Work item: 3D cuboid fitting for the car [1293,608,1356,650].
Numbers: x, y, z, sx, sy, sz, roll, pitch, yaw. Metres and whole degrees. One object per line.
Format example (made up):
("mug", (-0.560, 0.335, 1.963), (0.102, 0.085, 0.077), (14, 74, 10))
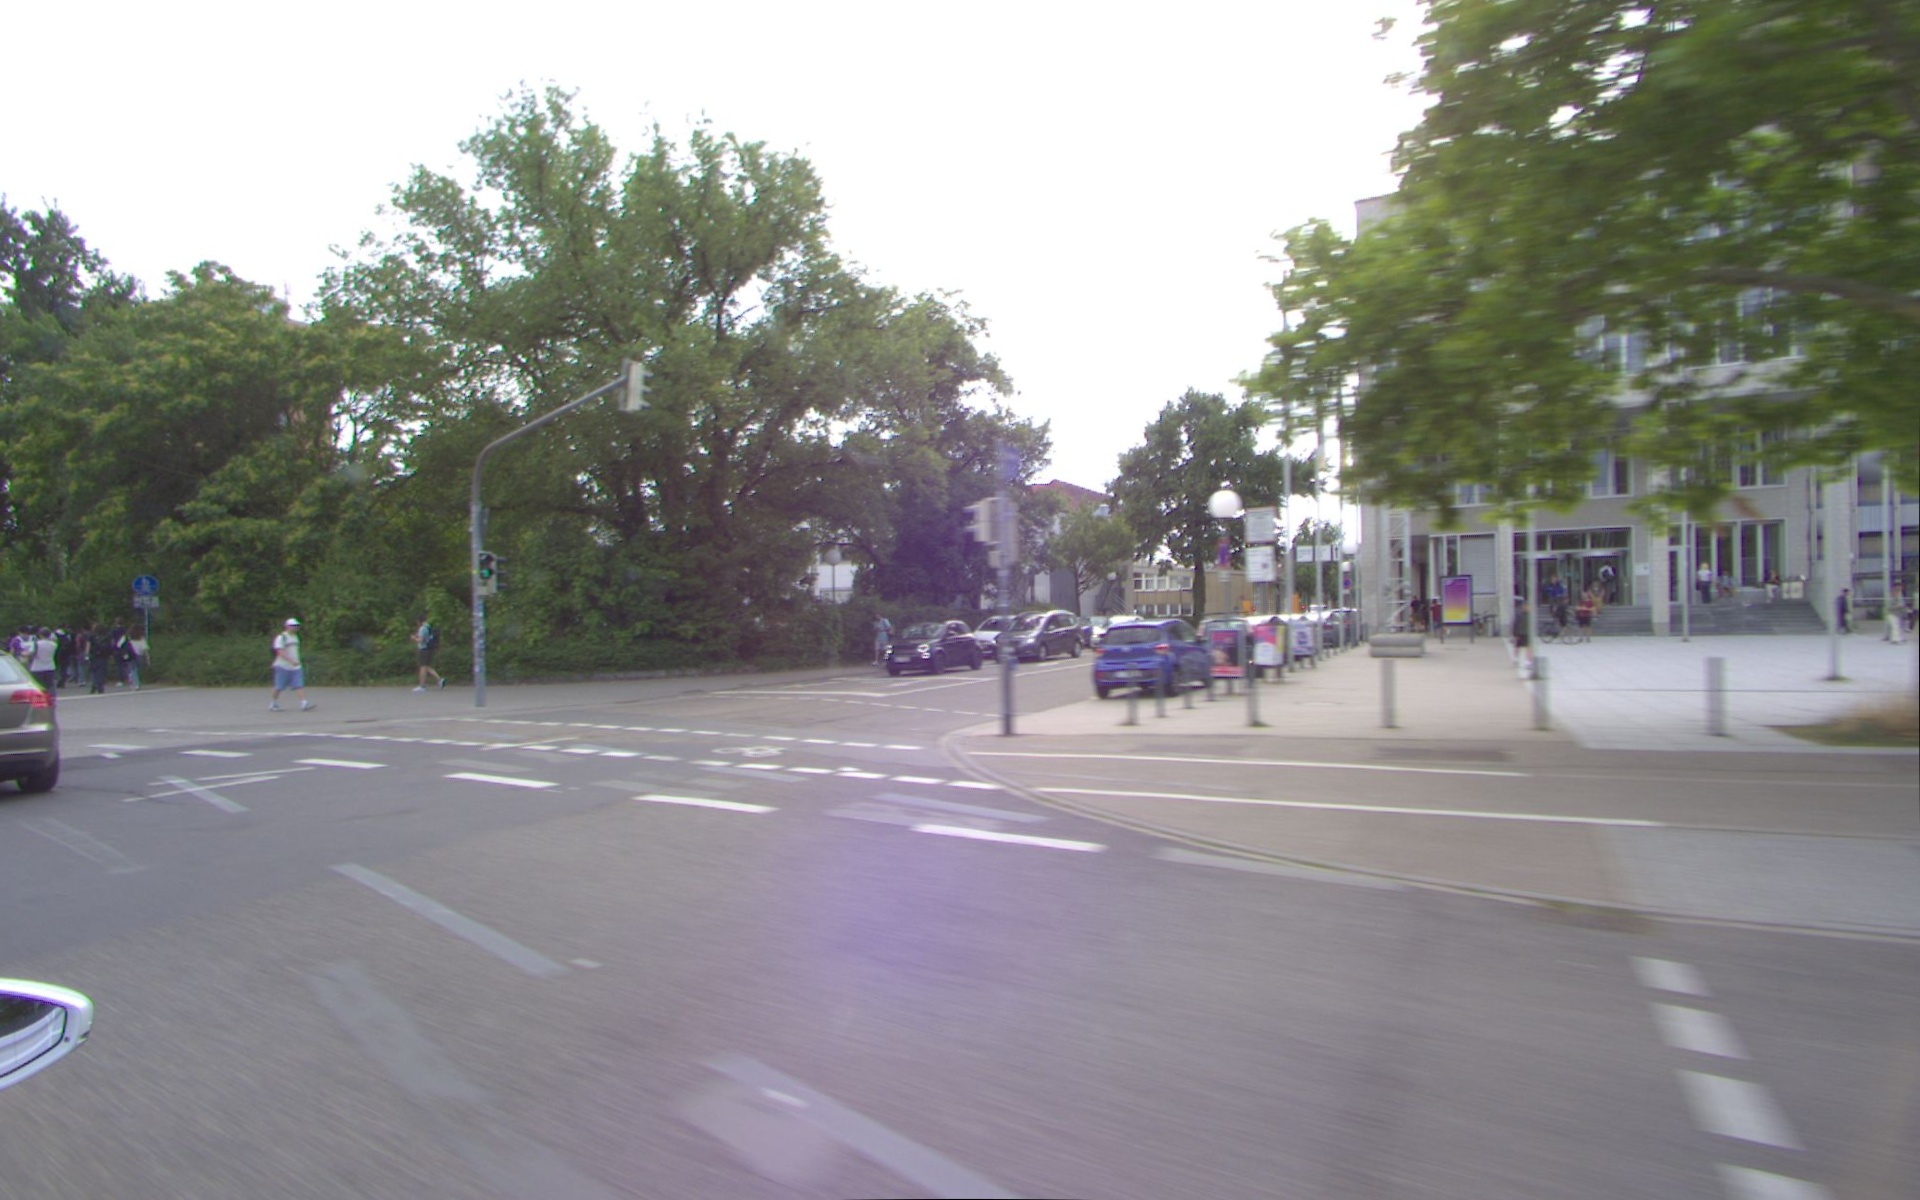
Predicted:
("car", (14.792, 1.172, 40.544), (1.788, 1.587, 4.211), (-2, -2, 28))

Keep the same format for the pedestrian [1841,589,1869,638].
("pedestrian", (30.994, 0.473, 34.686), (0.625, 1.661, 0.598), (1, -2, -37))

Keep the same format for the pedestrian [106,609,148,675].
("pedestrian", (-22.975, 1.151, 27.619), (0.768, 1.768, 0.655), (-1, 0, 30))

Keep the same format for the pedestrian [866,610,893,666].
("pedestrian", (-2.766, 1.295, 34.417), (0.719, 1.875, 0.800), (-1, 0, 13))

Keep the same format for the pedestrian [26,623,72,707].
("pedestrian", (-18.998, 1.343, 20.881), (0.627, 1.709, 0.545), (-1, 0, 30))

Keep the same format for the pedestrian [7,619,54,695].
("pedestrian", (-22.381, 1.360, 24.107), (0.768, 1.768, 0.623), (-1, 0, 30))

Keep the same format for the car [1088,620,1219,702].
("car", (4.070, 1.198, 20.655), (1.649, 1.510, 3.568), (-2, -2, 28))

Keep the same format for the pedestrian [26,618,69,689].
("pedestrian", (-23.371, 1.354, 25.640), (0.778, 1.768, 0.580), (-1, 0, 30))

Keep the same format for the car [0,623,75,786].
("car", (-10.454, 0.994, 9.870), (3.684, 1.476, 1.720), (-1, -1, 34))

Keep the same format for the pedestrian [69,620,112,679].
("pedestrian", (-25.316, 1.423, 29.145), (0.957, 1.689, 0.655), (-1, 0, 30))

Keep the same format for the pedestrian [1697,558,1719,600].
("pedestrian", (31.237, -0.868, 41.815), (0.666, 1.736, 0.626), (1, -2, -43))

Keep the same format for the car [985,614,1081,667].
("car", (2.638, 1.378, 35.140), (1.659, 1.714, 4.276), (-2, -2, 29))

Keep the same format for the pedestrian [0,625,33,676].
("pedestrian", (-30.576, 1.626, 32.417), (0.774, 1.604, 0.634), (-1, 0, 33))

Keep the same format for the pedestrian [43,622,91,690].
("pedestrian", (-24.294, 1.504, 27.239), (0.943, 1.790, 0.655), (-1, 1, 30))

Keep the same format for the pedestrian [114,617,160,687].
("pedestrian", (-21.099, 1.324, 25.670), (0.768, 1.768, 0.655), (-1, 0, 30))

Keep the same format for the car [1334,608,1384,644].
("car", (18.424, 1.191, 46.176), (1.649, 1.587, 3.973), (-2, -2, 28))

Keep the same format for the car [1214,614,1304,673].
("car", (8.884, 1.233, 29.542), (1.649, 1.587, 4.435), (-2, -2, 28))

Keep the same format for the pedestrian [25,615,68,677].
("pedestrian", (-25.844, 1.295, 28.329), (0.829, 1.711, 0.655), (-1, 0, 30))

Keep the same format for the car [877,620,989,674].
("car", (-0.720, 1.353, 29.284), (1.659, 1.460, 3.567), (-2, -2, 29))

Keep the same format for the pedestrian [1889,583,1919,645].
("pedestrian", (29.357, 0.440, 30.969), (0.591, 1.867, 0.727), (-1, -1, 15))

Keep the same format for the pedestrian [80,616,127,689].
("pedestrian", (-21.443, 1.303, 25.059), (0.768, 1.768, 0.655), (-1, 0, 30))

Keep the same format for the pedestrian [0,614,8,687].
("pedestrian", (-23.944, 1.244, 24.546), (0.768, 1.768, 0.655), (-1, 0, 30))

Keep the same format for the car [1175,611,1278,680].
("car", (6.717, 1.104, 25.012), (1.649, 1.587, 3.680), (-2, -2, 28))

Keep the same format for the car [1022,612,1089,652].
("car", (4.243, 1.381, 43.996), (1.546, 1.624, 3.883), (-3, -2, 28))

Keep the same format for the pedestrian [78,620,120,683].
("pedestrian", (-23.948, 1.424, 27.843), (0.768, 1.722, 0.655), (-1, 0, 30))

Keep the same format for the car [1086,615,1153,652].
("car", (6.902, 1.418, 43.076), (1.659, 1.460, 3.768), (-2, -2, 29))

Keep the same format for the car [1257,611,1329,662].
("car", (11.332, 1.213, 33.940), (1.649, 1.587, 3.817), (-2, -2, 28))

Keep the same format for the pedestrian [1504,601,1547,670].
("pedestrian", (14.616, 0.924, 25.871), (0.945, 1.730, 0.695), (1, -2, -42))

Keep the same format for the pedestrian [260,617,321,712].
("pedestrian", (-13.440, 1.282, 20.106), (0.814, 1.876, 0.646), (-1, -1, 18))

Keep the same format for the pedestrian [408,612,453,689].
("pedestrian", (-12.752, 1.213, 24.118), (0.728, 1.818, 0.645), (-1, -1, 22))
